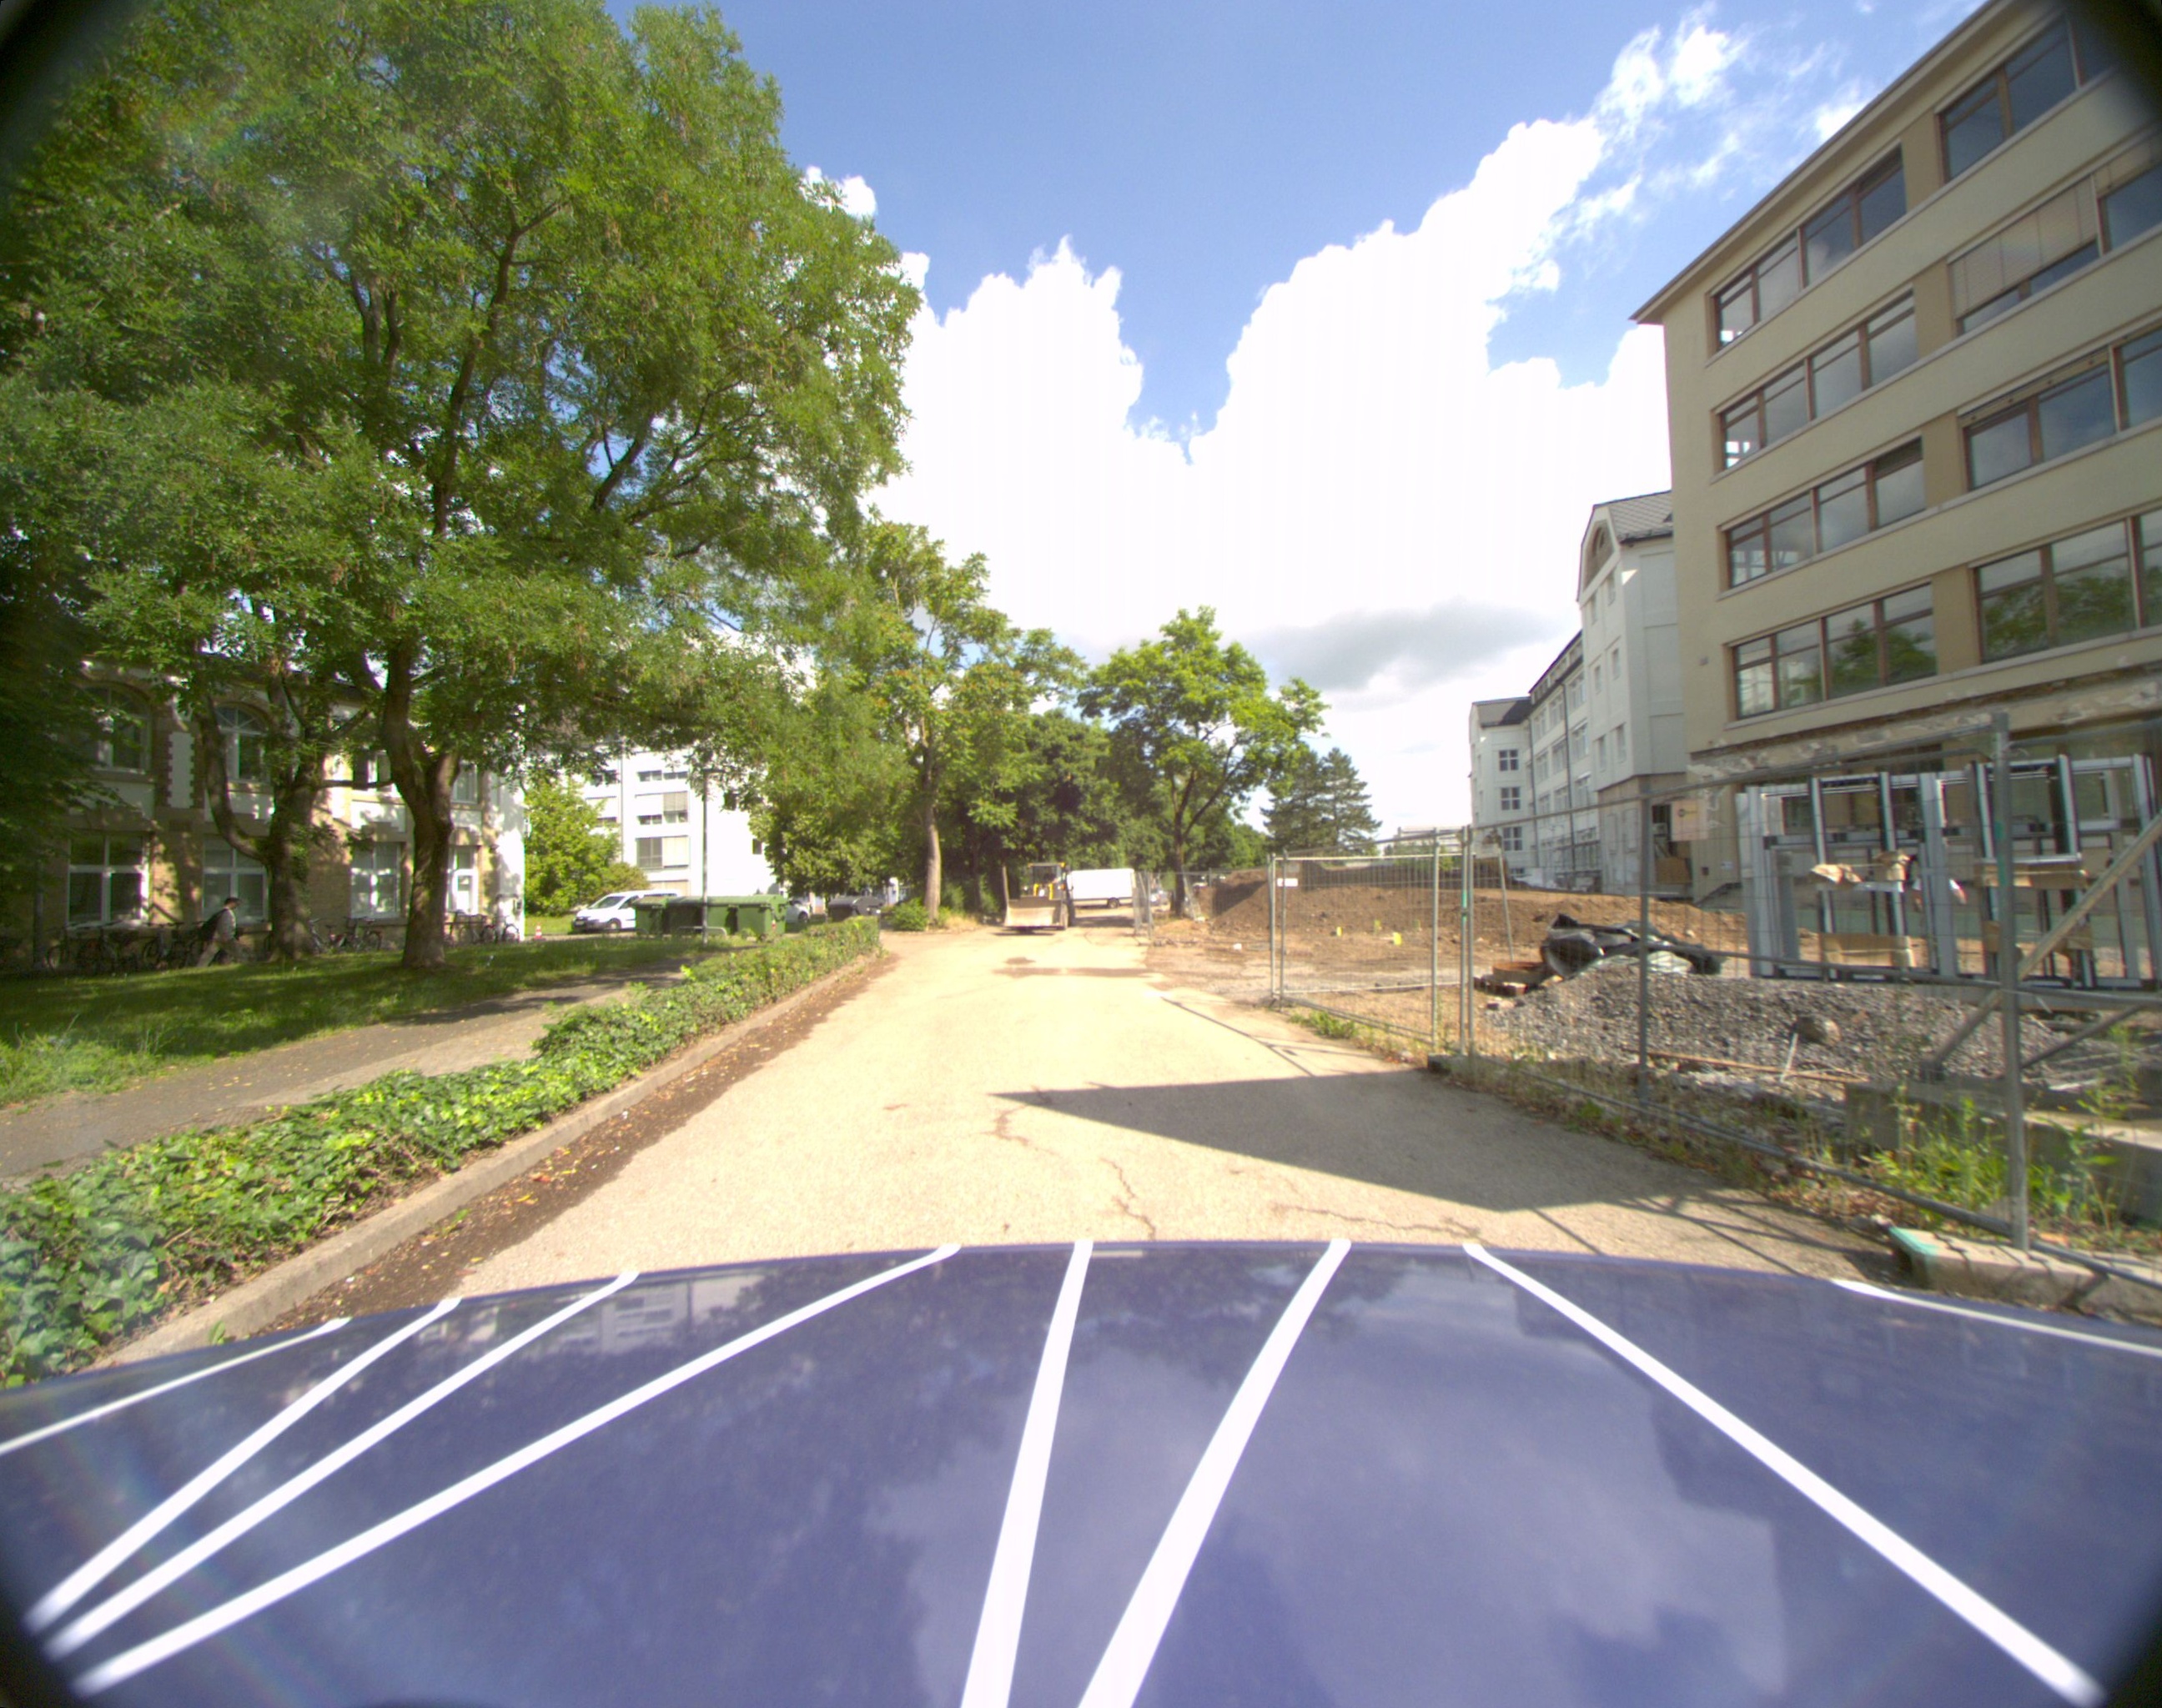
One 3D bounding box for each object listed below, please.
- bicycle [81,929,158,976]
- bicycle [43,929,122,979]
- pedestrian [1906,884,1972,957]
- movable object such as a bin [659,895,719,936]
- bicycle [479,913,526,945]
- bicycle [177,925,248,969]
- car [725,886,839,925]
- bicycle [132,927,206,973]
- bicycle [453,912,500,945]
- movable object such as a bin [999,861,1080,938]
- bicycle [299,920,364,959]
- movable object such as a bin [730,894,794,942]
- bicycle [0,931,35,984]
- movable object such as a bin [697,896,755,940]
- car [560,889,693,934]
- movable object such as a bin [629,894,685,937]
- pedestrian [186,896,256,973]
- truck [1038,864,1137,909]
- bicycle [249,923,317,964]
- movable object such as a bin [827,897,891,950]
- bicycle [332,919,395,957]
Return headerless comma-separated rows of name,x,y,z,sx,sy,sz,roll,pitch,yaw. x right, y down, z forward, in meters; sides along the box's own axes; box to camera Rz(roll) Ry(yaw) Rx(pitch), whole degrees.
bicycle,-21.099,2.144,16.668,1.817,0.981,0.428,-1,-3,19
bicycle,-21.194,2.110,16.132,1.817,0.981,0.428,-1,-3,19
pedestrian,15.997,1.223,14.186,0.462,1.304,0.636,-6,-4,22
movable object such as a bin,-12.239,1.919,23.739,1.271,1.213,1.030,-1,-1,17
bicycle,-18.378,2.362,24.144,1.455,0.981,0.428,-1,-3,19
bicycle,-20.685,2.203,18.096,1.817,0.981,0.428,-1,-3,19
car,-13.042,2.237,33.585,1.806,1.487,5.101,-2,-2,19
bicycle,-20.847,2.174,17.372,1.817,0.981,0.428,-1,-3,19
bicycle,-18.667,2.299,23.452,1.455,0.981,0.428,-1,-3,20
movable object such as a bin,-1.347,1.526,26.980,1.998,2.429,5.437,-1,-1,6
bicycle,-19.891,2.253,20.162,1.817,0.981,0.428,-1,-3,19
movable object such as a bin,-9.560,1.902,22.815,1.364,1.344,1.096,-1,-1,17
bicycle,-21.666,2.044,15.135,1.817,0.981,0.428,-1,-3,19
movable object such as a bin,-10.847,1.942,23.230,1.253,1.258,1.001,-1,-1,17
car,-21.092,2.647,35.534,2.034,1.851,5.102,-2,-2,24
movable object such as a bin,-13.517,1.951,24.254,1.189,1.285,1.005,-1,-1,17
pedestrian,-18.922,1.759,16.728,0.569,1.613,0.859,-2,-2,16
truck,0.480,2.203,51.804,6.550,2.762,2.001,-2,1,6
bicycle,-20.187,2.255,19.219,1.817,0.981,0.428,-1,-3,19
movable object such as a bin,-6.153,1.905,21.064,1.320,1.349,1.133,-2,-1,39
bicycle,-19.718,2.292,20.866,1.817,0.981,0.428,-1,-3,19
